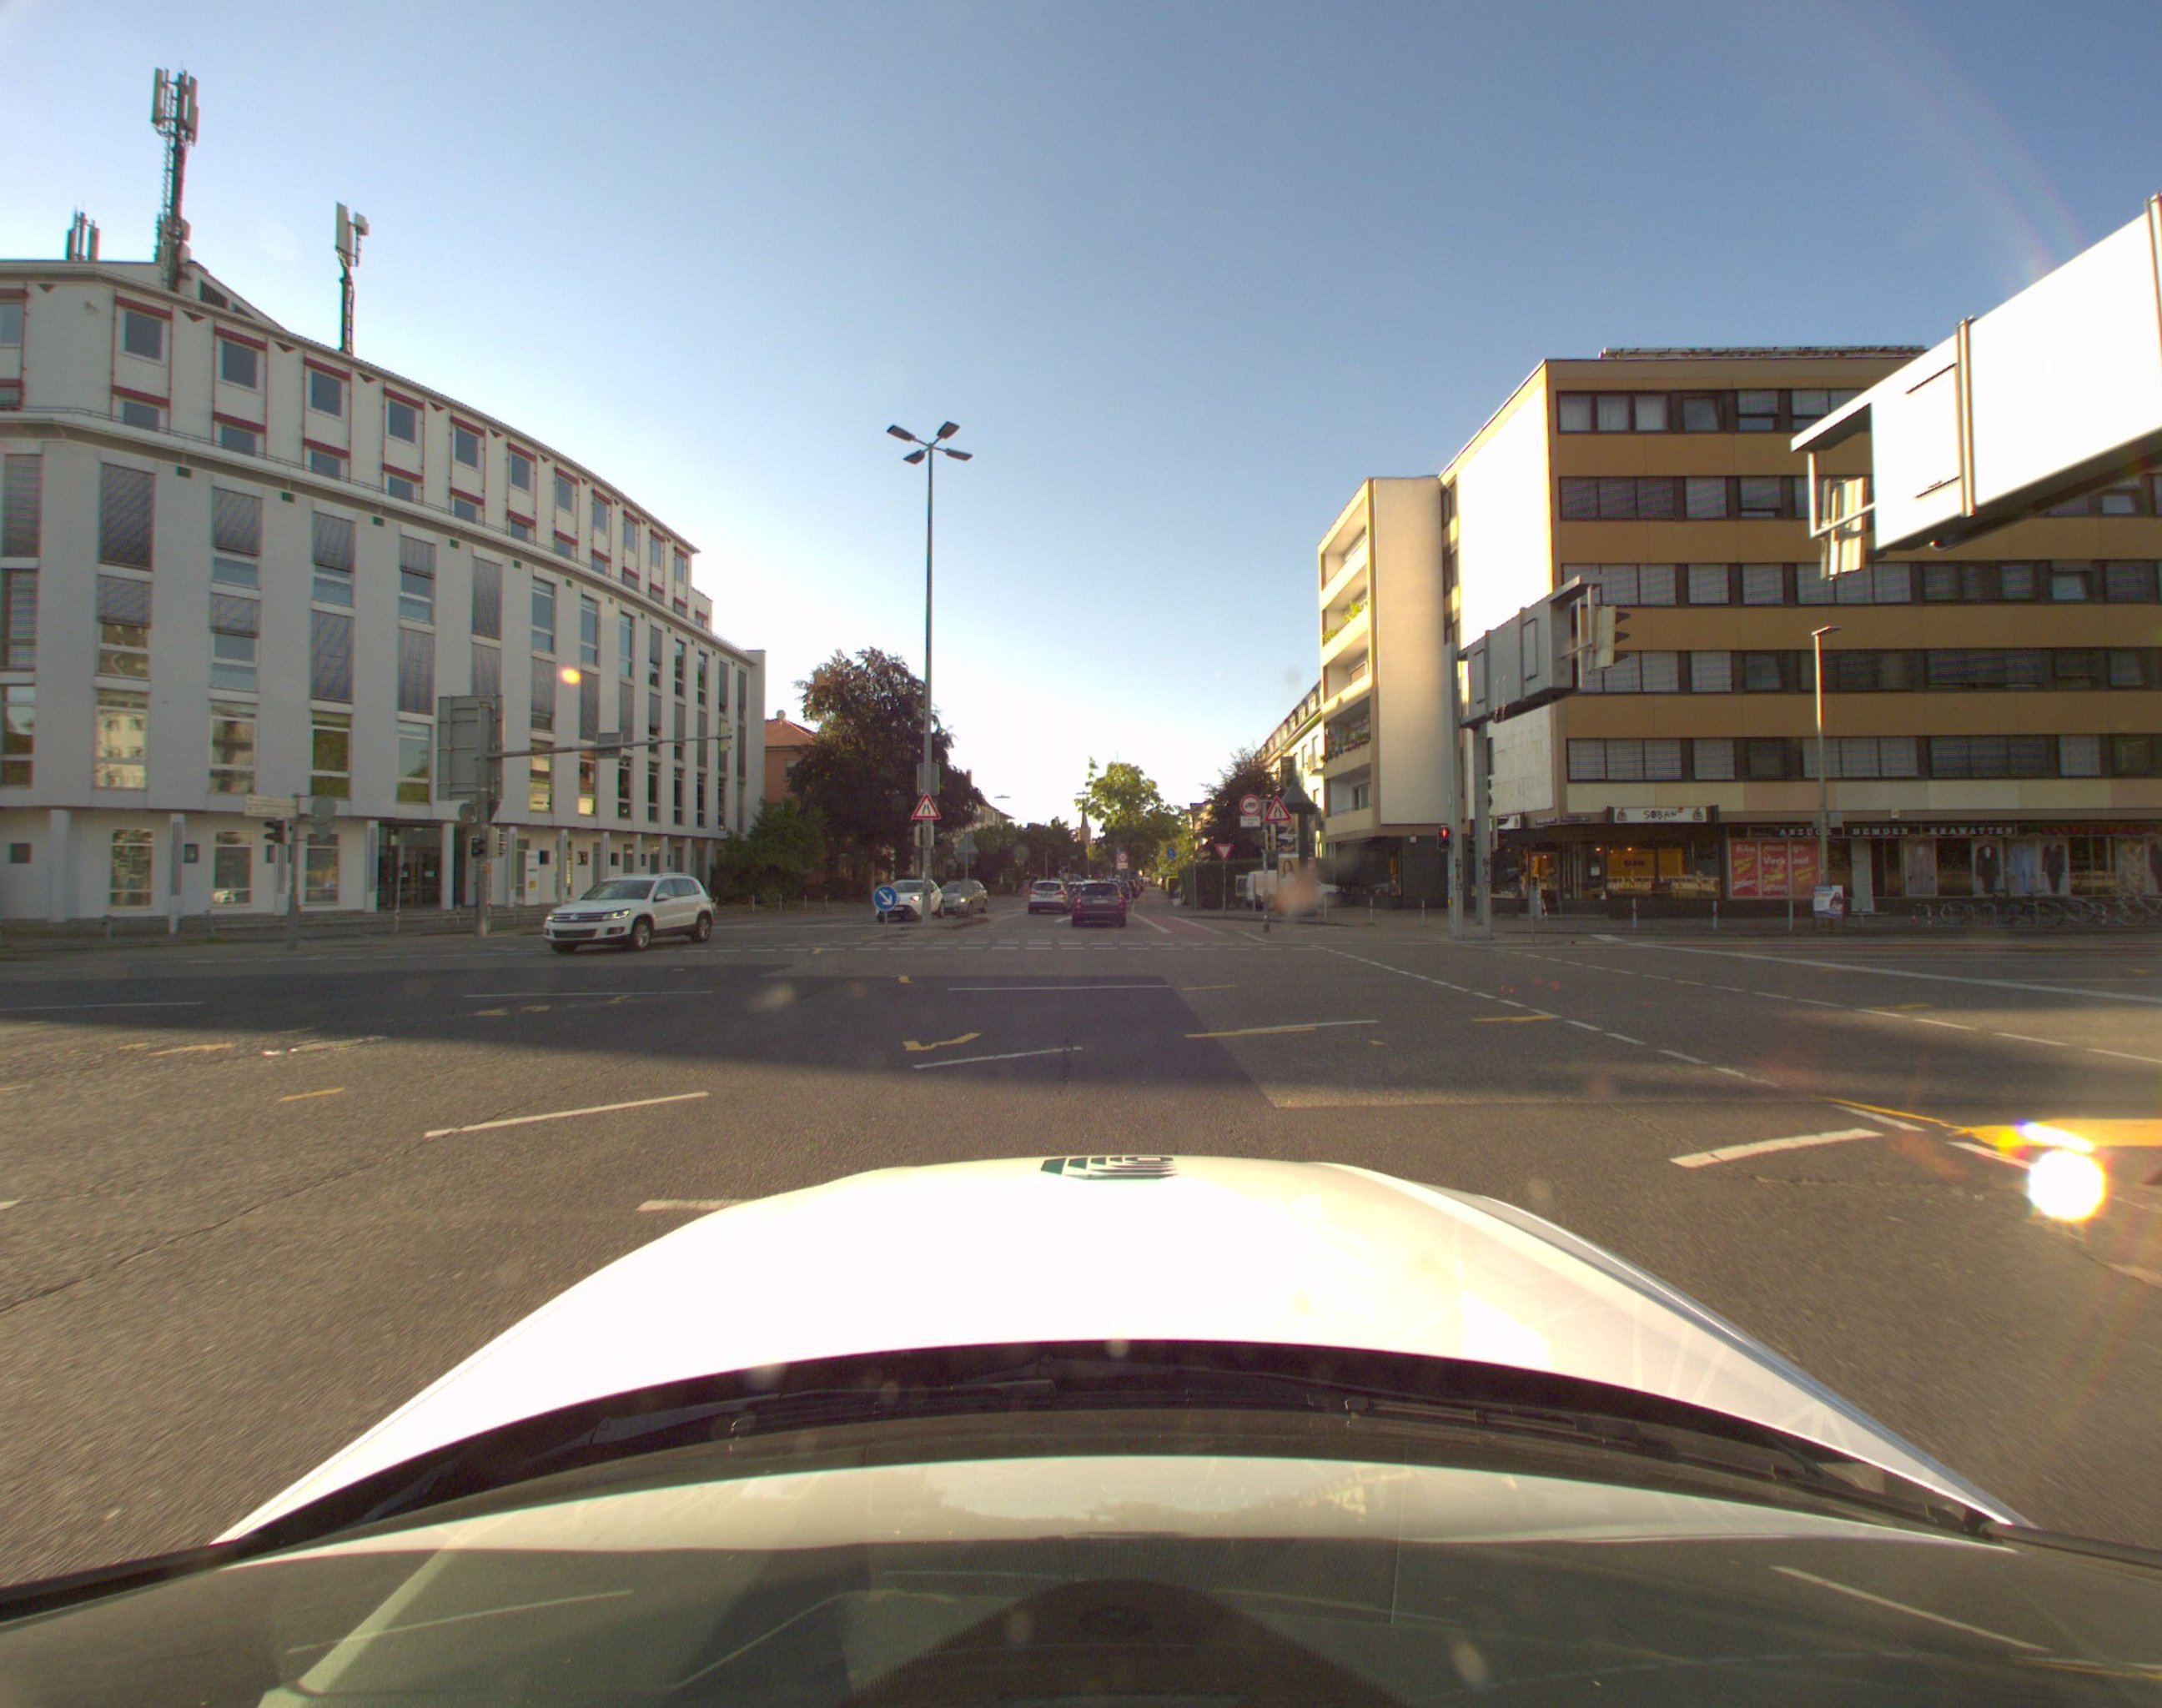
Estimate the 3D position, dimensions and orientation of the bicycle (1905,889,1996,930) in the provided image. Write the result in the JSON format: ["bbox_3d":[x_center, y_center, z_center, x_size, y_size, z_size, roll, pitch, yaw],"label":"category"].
[{"bbox_3d":[25.323,1.586,23.762,0.524,1.096,2.008,-1,-2,2],"label":"bicycle"}]

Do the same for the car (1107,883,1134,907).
[{"bbox_3d":[2.829,2.890,57.779,1.724,1.551,3.650,-1,-2,4],"label":"car"}]

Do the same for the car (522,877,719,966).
[{"bbox_3d":[-9.928,1.364,18.043,1.822,1.706,4.439,-1,-2,0],"label":"car"}]

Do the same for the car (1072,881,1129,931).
[{"bbox_3d":[0.621,1.647,26.932,1.723,1.494,3.950,-1,-2,1],"label":"car"}]

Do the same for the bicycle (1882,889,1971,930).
[{"bbox_3d":[24.629,1.593,23.772,0.524,1.096,2.008,-1,-2,2],"label":"bicycle"}]

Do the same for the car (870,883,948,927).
[{"bbox_3d":[-6.282,1.841,30.195,1.819,1.461,3.906,-1,-2,4],"label":"car"}]

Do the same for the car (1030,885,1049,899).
[{"bbox_3d":[-4.833,4.418,95.307,1.742,1.503,4.201,-1,-2,4],"label":"car"}]

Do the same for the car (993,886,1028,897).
[{"bbox_3d":[-9.761,5.159,112.871,4.709,1.363,1.994,0,-2,-9],"label":"car"}]

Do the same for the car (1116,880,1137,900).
[{"bbox_3d":[4.032,3.150,71.005,1.724,1.651,4.296,-1,-2,4],"label":"car"}]

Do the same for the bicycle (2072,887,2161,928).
[{"bbox_3d":[30.402,1.534,23.703,0.525,1.096,2.004,0,-2,-5],"label":"bicycle"}]

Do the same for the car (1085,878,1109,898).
[{"bbox_3d":[1.336,2.795,67.679,1.724,1.651,3.545,-1,-2,4],"label":"car"}]

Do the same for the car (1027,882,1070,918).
[{"bbox_3d":[-1.416,2.060,37.043,1.723,1.494,3.950,-1,-2,1],"label":"car"}]

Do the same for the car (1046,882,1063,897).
[{"bbox_3d":[-3.629,4.849,111.251,1.762,1.919,4.464,-1,-2,4],"label":"car"}]

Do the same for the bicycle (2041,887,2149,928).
[{"bbox_3d":[29.690,1.546,23.901,0.525,1.096,2.004,0,-2,-5],"label":"bicycle"}]

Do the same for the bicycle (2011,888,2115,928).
[{"bbox_3d":[28.699,1.555,23.862,0.525,1.096,2.005,0,-2,-3],"label":"bicycle"}]

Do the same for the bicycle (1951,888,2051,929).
[{"bbox_3d":[26.815,1.572,23.797,0.525,1.096,2.004,0,-2,-5],"label":"bicycle"}]

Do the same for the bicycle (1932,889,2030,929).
[{"bbox_3d":[26.200,1.577,23.762,0.525,1.096,2.004,0,-2,-5],"label":"bicycle"}]

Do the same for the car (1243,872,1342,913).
[{"bbox_3d":[9.681,1.751,37.543,4.072,1.814,1.862,-1,-2,1],"label":"car"}]

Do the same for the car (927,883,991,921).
[{"bbox_3d":[-5.348,2.079,36.285,1.819,1.515,4.608,-1,-2,4],"label":"car"}]

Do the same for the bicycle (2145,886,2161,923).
[{"bbox_3d":[32.808,1.513,23.842,0.525,1.096,2.004,0,-2,-5],"label":"bicycle"}]

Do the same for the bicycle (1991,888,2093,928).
[{"bbox_3d":[28.082,1.561,23.858,0.525,1.096,2.005,0,-2,-3],"label":"bicycle"}]

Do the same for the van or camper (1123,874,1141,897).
[{"bbox_3d":[6.224,3.776,98.343,2.058,2.676,5.995,-1,-3,4],"label":"van or camper"}]

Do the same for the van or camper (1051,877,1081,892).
[{"bbox_3d":[-3.746,7.690,206.051,7.610,3.875,2.001,-1,-2,2],"label":"van or camper"}]

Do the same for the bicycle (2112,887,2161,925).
[{"bbox_3d":[31.812,1.524,23.852,0.525,1.096,2.004,0,-2,-5],"label":"bicycle"}]

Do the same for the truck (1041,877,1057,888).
[{"bbox_3d":[-6.145,5.547,156.363,2.901,2.094,1.547,-1,-2,3],"label":"truck"}]

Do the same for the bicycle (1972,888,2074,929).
[{"bbox_3d":[27.423,1.565,23.760,0.525,1.096,2.004,0,-2,-5],"label":"bicycle"}]
